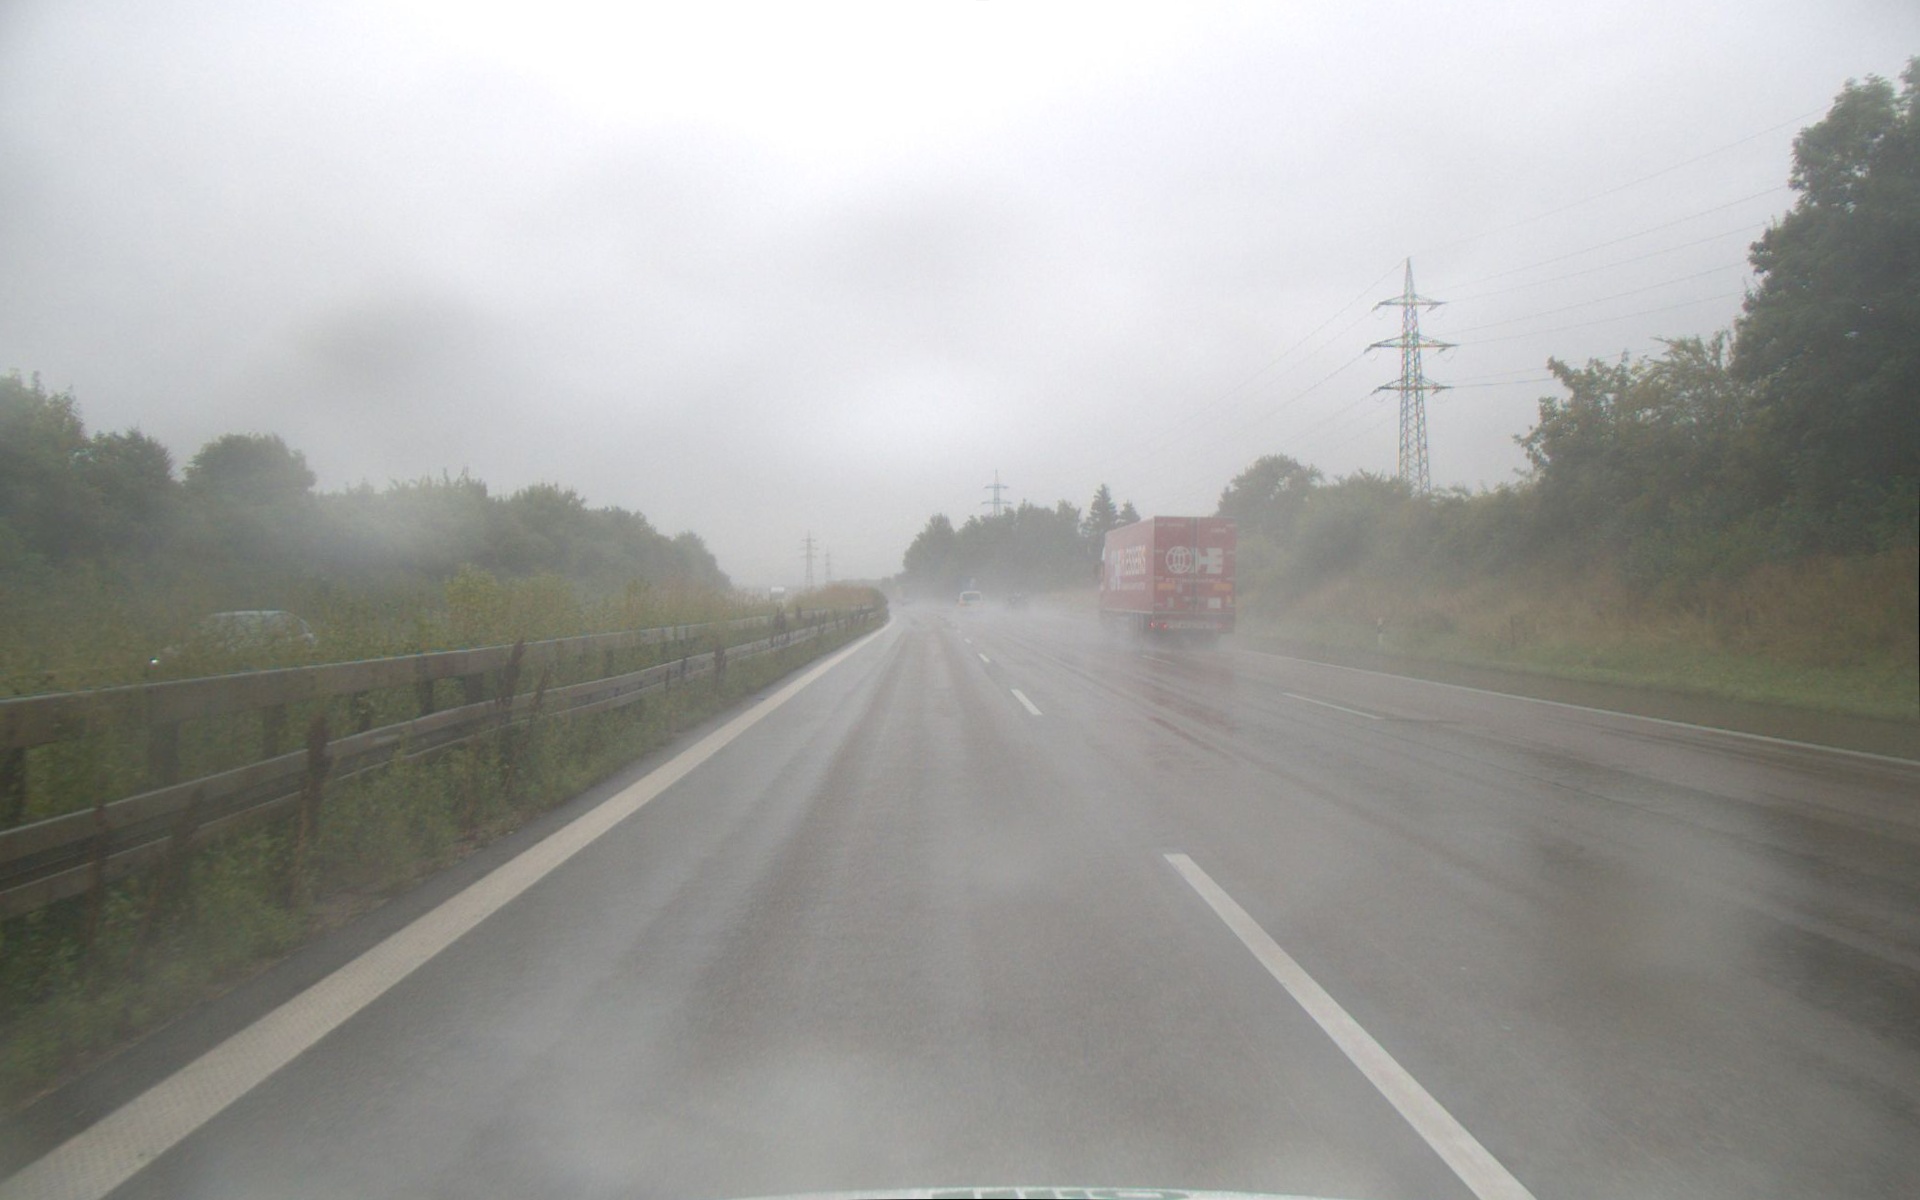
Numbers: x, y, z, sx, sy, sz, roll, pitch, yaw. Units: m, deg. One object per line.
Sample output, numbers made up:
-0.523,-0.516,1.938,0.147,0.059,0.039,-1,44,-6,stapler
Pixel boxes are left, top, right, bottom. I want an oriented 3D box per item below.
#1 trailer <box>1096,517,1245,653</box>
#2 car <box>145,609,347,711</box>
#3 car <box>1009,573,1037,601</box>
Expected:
6.961,-0.466,57.131,2.568,4.024,13.622,-3,0,-3,trailer
-13.536,1.074,31.704,1.759,1.712,4.957,-2,0,-1,car
5.116,-1.030,135.009,1.771,2.196,3.997,-2,0,-4,car
